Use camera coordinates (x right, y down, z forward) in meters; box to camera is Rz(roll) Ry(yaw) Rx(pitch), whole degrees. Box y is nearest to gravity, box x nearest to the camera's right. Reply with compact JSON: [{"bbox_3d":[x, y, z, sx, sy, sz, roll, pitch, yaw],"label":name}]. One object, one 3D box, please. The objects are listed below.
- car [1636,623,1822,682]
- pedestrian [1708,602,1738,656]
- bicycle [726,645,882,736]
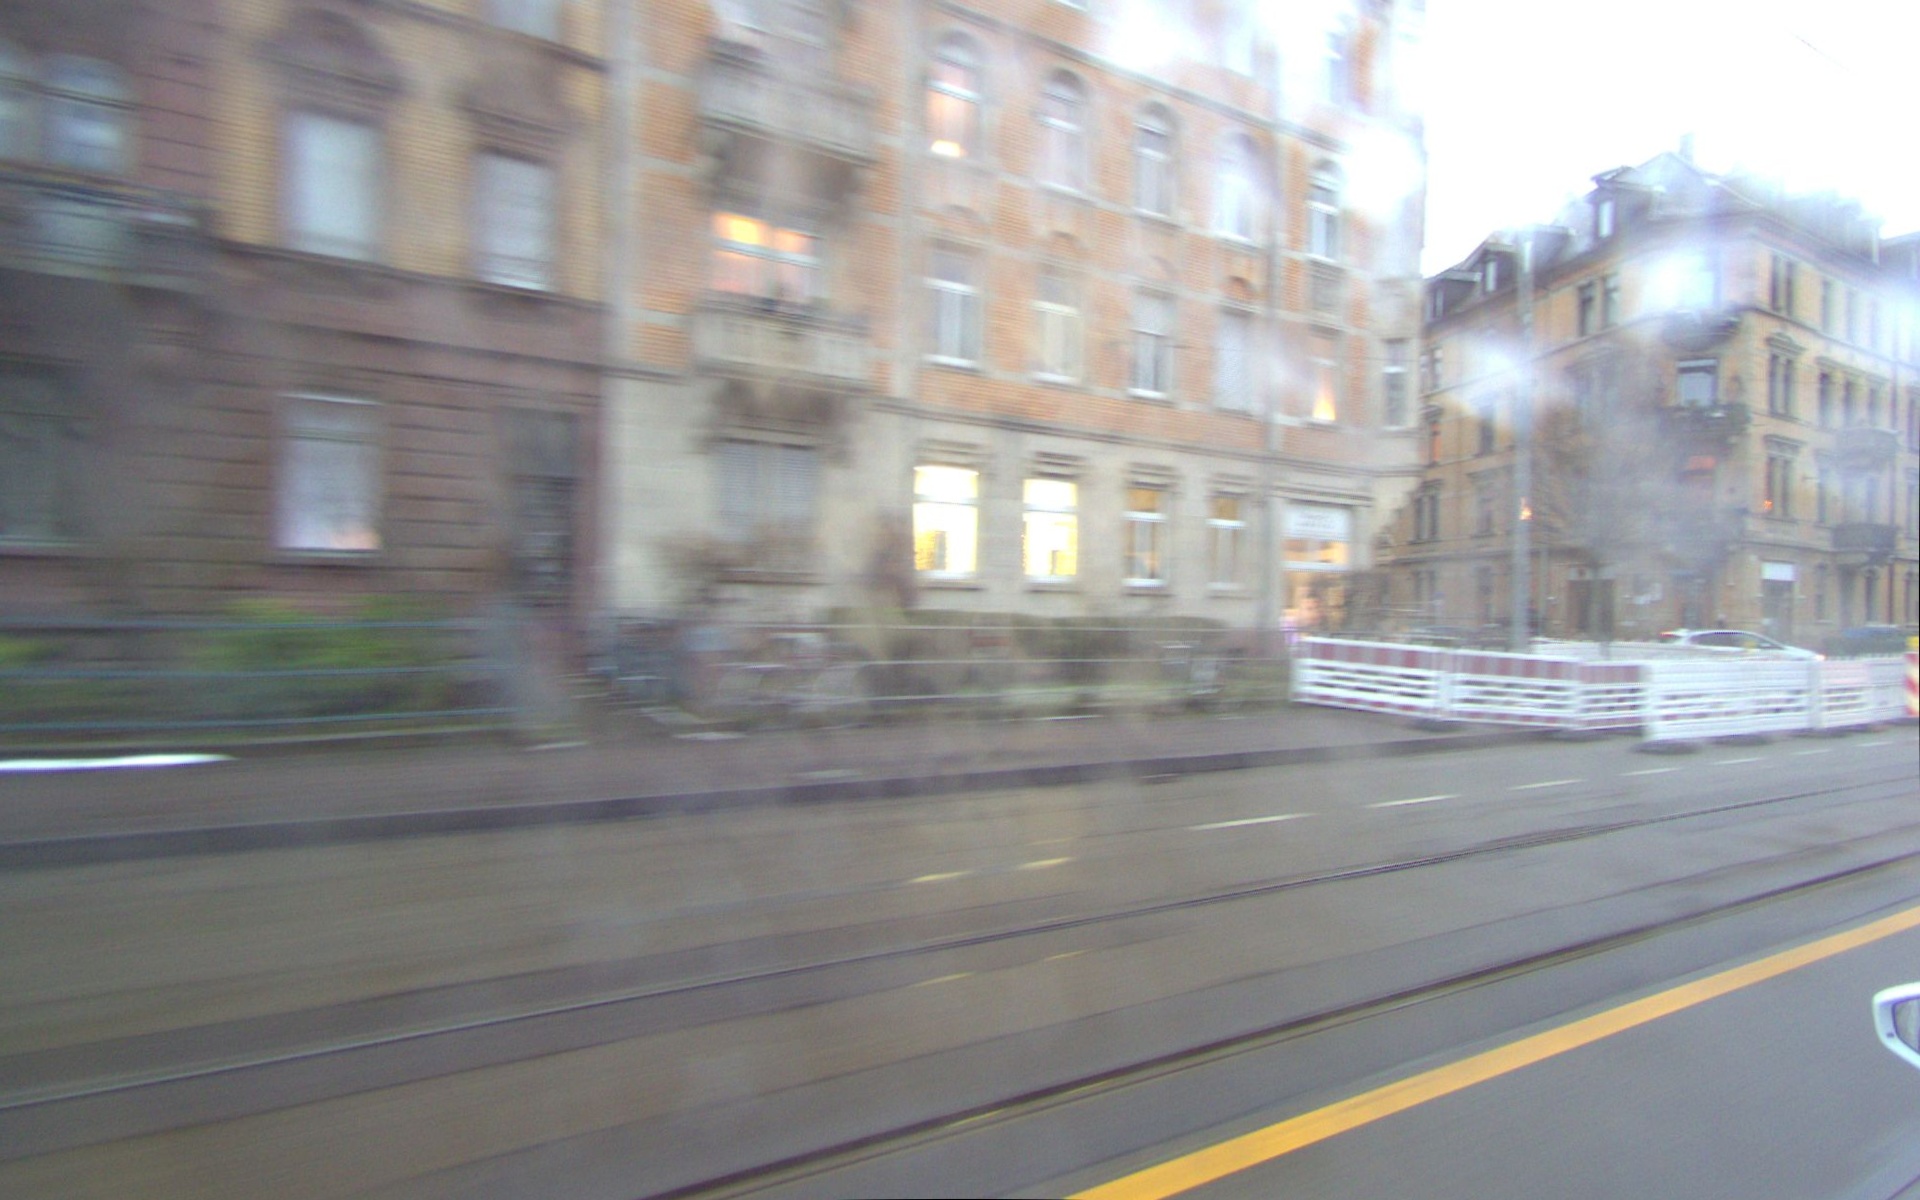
[{"bbox_3d":[23.527,1.577,30.928,4.091,1.546,2.000,2,0,19],"label":"car"},{"bbox_3d":[26.164,0.995,34.446,0.708,1.797,0.769,2,0,32],"label":"pedestrian"},{"bbox_3d":[-1.696,0.970,11.050,1.666,0.928,0.262,1,6,-31],"label":"bicycle"}]
